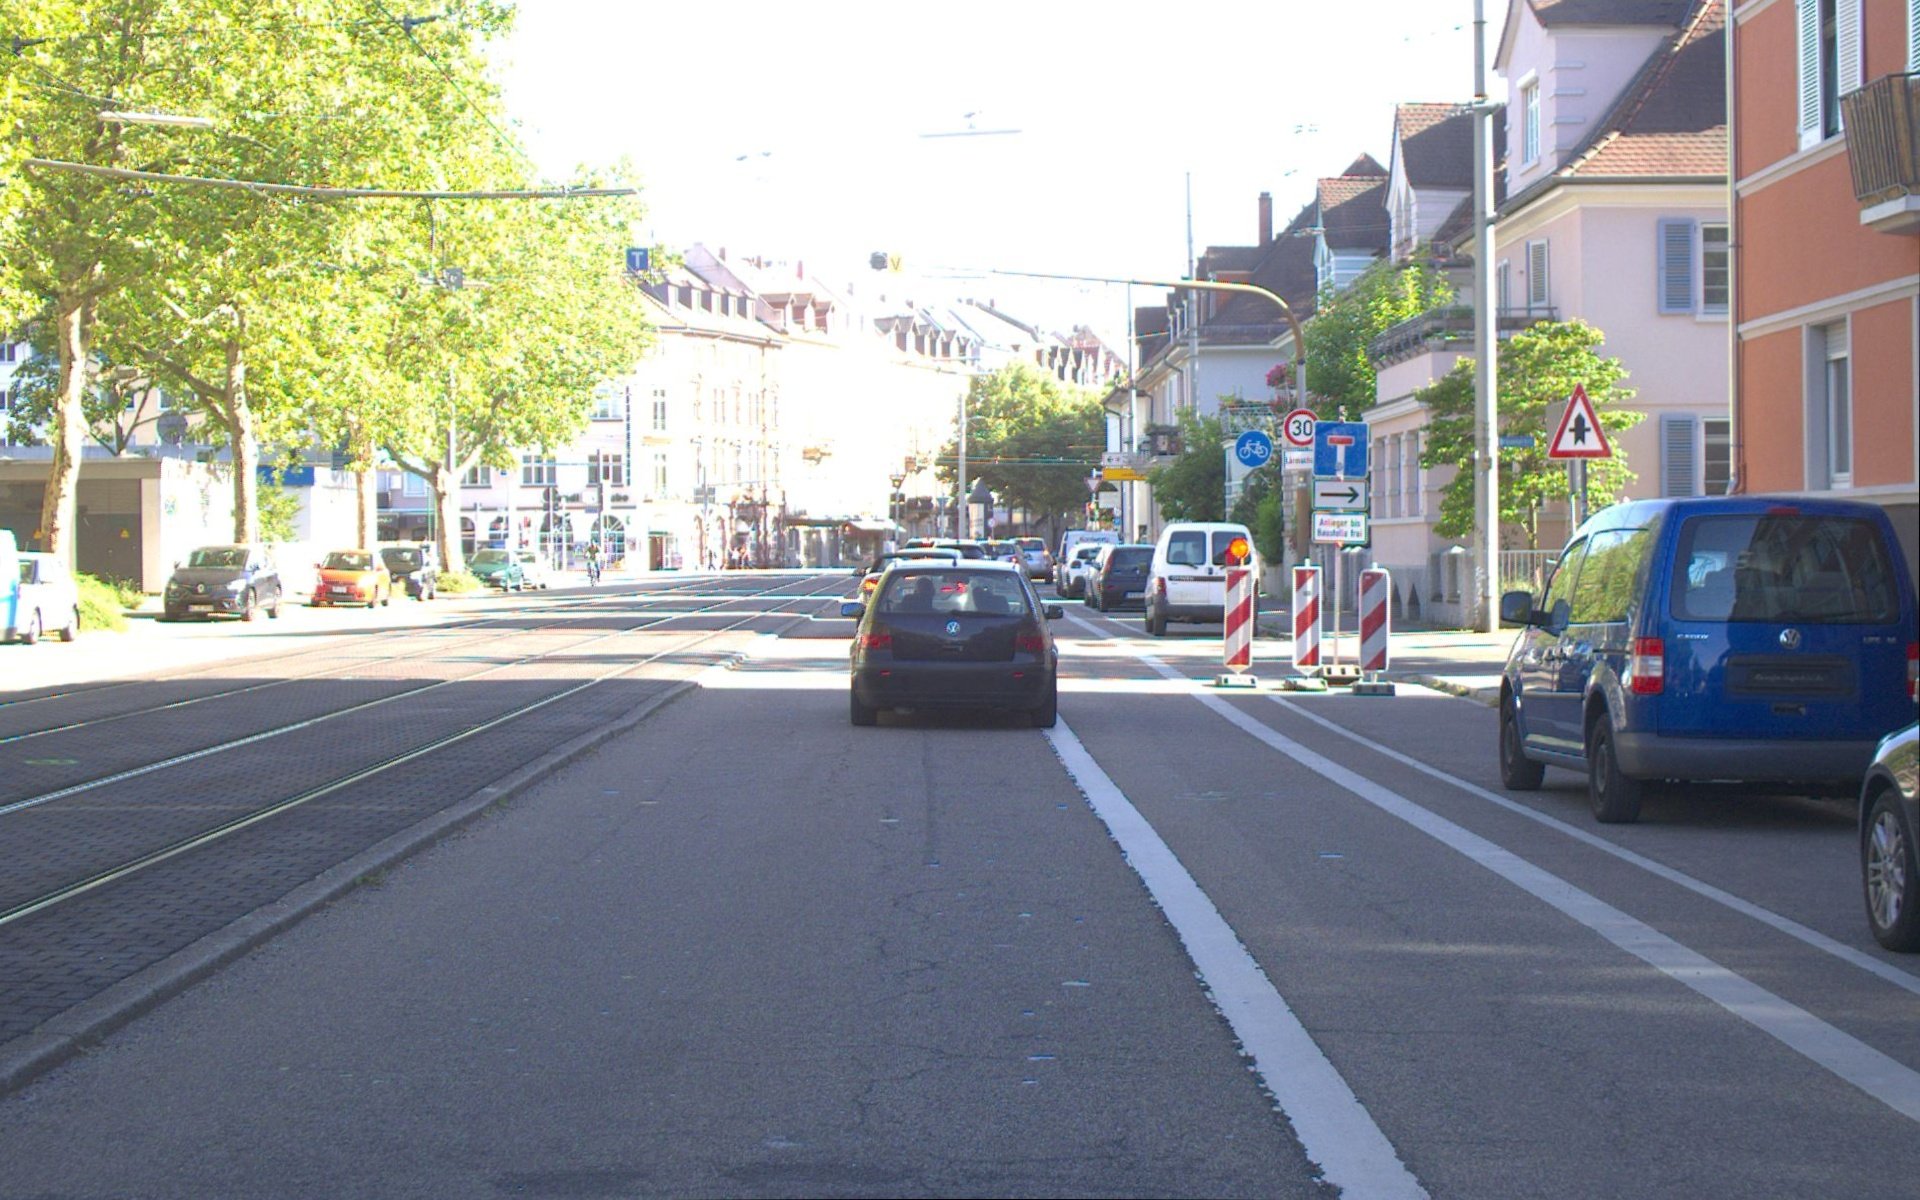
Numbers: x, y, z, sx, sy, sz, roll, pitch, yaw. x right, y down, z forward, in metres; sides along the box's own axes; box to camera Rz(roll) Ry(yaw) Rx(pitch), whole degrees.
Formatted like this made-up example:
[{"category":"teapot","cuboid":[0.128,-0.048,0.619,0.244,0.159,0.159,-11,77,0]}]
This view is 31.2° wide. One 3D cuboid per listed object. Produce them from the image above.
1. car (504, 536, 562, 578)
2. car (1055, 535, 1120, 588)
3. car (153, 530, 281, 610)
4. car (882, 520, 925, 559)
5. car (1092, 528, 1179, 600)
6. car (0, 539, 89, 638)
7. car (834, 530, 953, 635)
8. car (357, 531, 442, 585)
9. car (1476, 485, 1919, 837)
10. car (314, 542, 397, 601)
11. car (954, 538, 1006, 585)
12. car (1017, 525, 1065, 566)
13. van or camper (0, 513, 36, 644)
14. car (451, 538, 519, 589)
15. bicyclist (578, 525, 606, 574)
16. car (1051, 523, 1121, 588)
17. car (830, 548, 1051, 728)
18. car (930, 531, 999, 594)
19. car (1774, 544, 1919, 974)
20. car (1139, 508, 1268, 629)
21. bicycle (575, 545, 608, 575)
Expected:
[{"category":"car","cuboid":[-15.602,-1.585,125.735,1.636,1.467,3.730,0,1,0]},{"category":"car","cuboid":[3.423,-1.063,92.925,1.580,1.370,4.000,0,1,0]},{"category":"car","cuboid":[-15.937,-0.666,73.917,1.888,1.660,4.000,0,1,0]},{"category":"car","cuboid":[-2.249,-2.418,137.712,1.636,1.467,3.730,-2,1,0]},{"category":"car","cuboid":[3.804,-0.814,75.146,1.661,1.520,4.036,0,1,0]},{"category":"car","cuboid":[-15.792,-0.218,57.173,1.574,1.502,4.090,1,2,0]},{"category":"car","cuboid":[-1.007,-0.305,53.790,1.748,1.532,3.892,-1,2,0]},{"category":"car","cuboid":[-16.247,-1.228,99.807,1.792,1.460,3.836,2,1,0]},{"category":"car","cuboid":[4.267,0.274,20.064,1.702,1.804,4.272,1,1,-2]},{"category":"car","cuboid":[-15.899,-0.743,90.513,1.570,1.528,3.572,0,0,0]},{"category":"car","cuboid":[0.650,-1.255,111.730,1.636,1.467,3.730,0,1,0]},{"category":"car","cuboid":[2.938,-2.000,124.838,1.636,1.467,3.730,0,1,0]},{"category":"van or camper","cuboid":[-15.783,-0.311,49.708,2.062,1.943,5.184,2,2,20]},{"category":"car","cuboid":[-16.466,-1.285,119.285,1.883,1.663,3.805,1,2,-1]},{"category":"bicyclist","cuboid":[-13.863,-1.902,129.433,0.914,1.827,0.960,1,1,0]},{"category":"car","cuboid":[3.567,-1.287,97.677,1.817,1.793,4.000,0,1,0]},{"category":"car","cuboid":[-0.210,0.273,29.469,1.748,1.370,4.001,-1,2,-2]},{"category":"car","cuboid":[0.098,-0.924,83.248,1.636,1.467,3.730,0,1,0]},{"category":"car","cuboid":[4.304,0.601,11.592,1.753,1.506,4.763,1,1,-3]},{"category":"car","cuboid":[3.890,-0.540,55.386,1.759,1.831,3.548,1,2,0]},{"category":"bicycle","cuboid":[-13.850,-1.511,129.298,0.914,1.079,3.203,1,2,0]}]
